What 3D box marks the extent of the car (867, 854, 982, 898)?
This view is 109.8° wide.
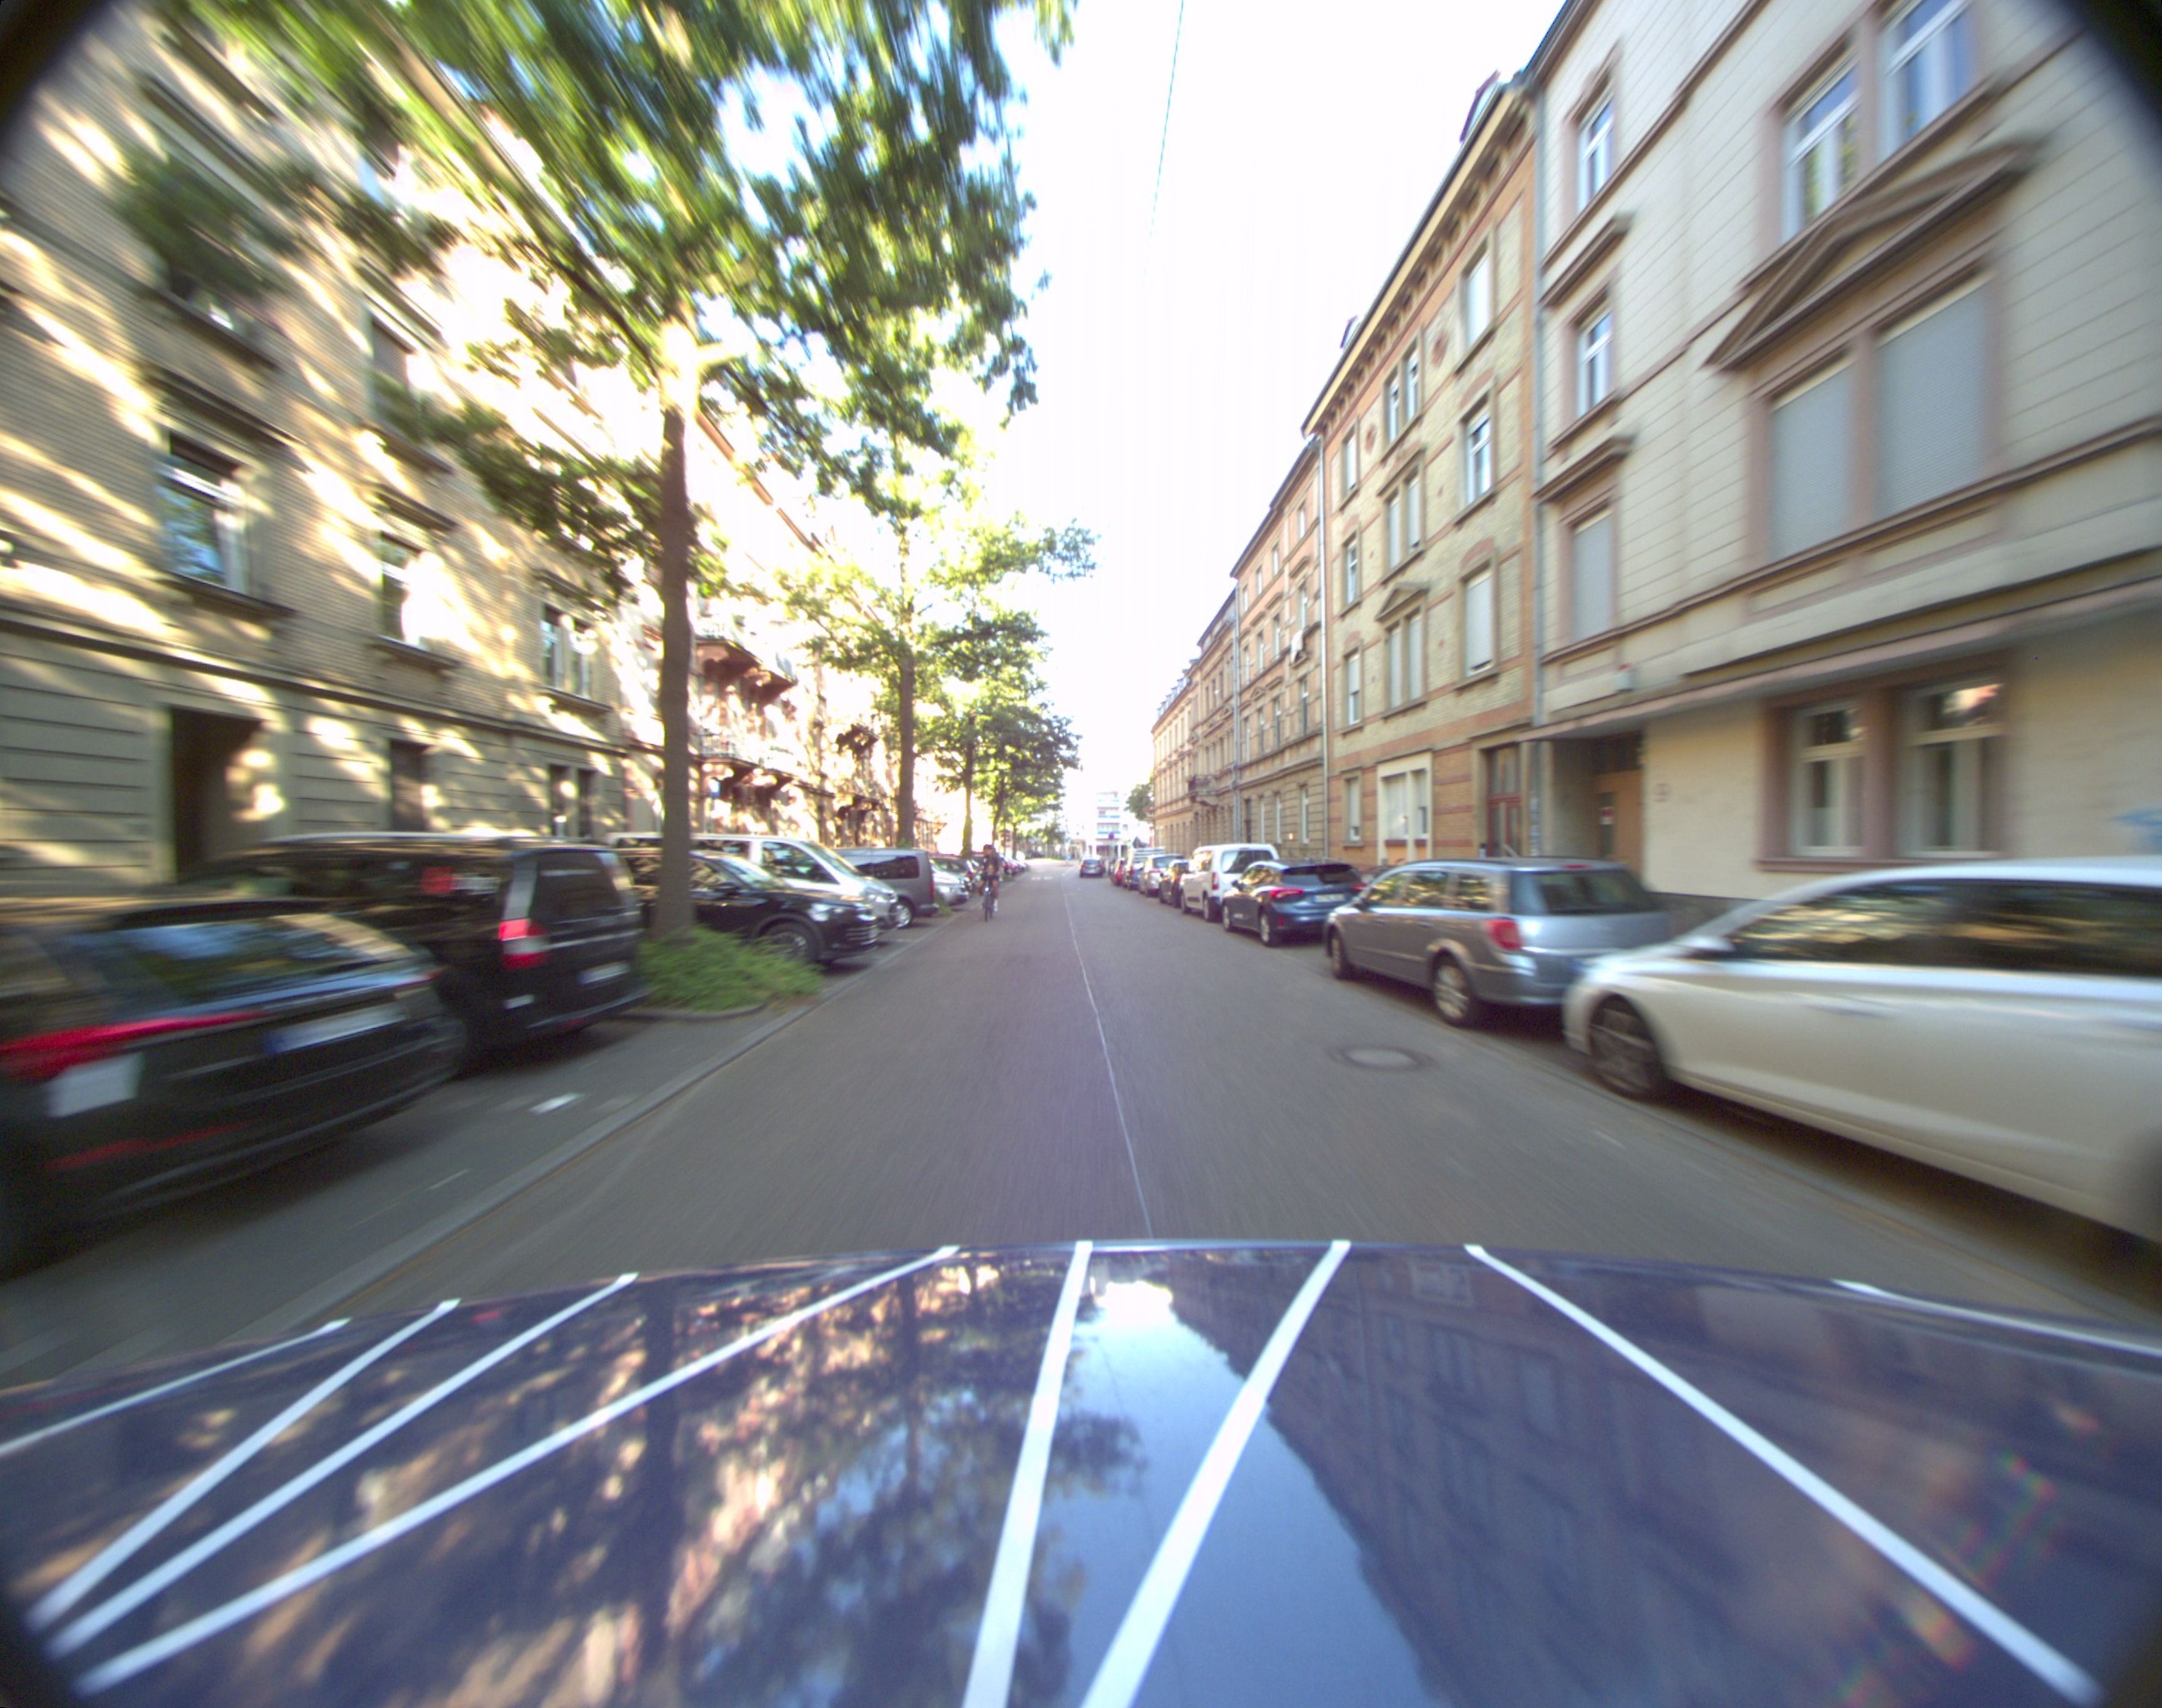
[{"bbox_3d":[-6.198,0.873,30.513,4.244,1.579,1.738,2,0,-3],"label":"car"}]

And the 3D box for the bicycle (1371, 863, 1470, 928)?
[{"bbox_3d":[7.398,0.851,16.733,0.630,1.273,2.667,-1,0,-8],"label":"bicycle"}]

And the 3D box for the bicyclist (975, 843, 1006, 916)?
[{"bbox_3d":[-2.366,0.652,19.947,0.712,1.865,1.120,0,1,-2],"label":"bicyclist"}]

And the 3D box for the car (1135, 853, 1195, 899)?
[{"bbox_3d":[3.287,0.810,30.450,1.771,1.648,4.157,-2,0,-2],"label":"car"}]

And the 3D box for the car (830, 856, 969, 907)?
[{"bbox_3d":[-5.963,0.896,25.406,4.244,1.594,1.902,1,0,-4],"label":"car"}]

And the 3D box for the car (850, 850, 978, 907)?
[{"bbox_3d":[-6.085,0.871,28.042,4.242,1.875,1.782,-2,1,-1],"label":"car"}]

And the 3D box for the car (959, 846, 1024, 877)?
[{"bbox_3d":[-6.807,0.554,58.088,4.700,1.966,1.925,4,0,-1],"label":"car"}]

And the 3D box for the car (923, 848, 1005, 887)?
[{"bbox_3d":[-6.240,0.714,40.825,4.057,1.875,1.781,2,0,0],"label":"car"}]

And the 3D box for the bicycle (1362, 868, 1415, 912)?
[{"bbox_3d":[7.856,0.903,19.489,0.495,1.017,1.908,-2,0,-3],"label":"bicycle"}]

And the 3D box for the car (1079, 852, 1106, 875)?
[{"bbox_3d":[0.840,0.681,56.712,1.868,1.620,3.825,-2,0,0],"label":"car"}]

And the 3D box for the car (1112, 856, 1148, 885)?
[{"bbox_3d":[2.676,0.895,42.137,1.641,1.482,3.824,-2,0,-2],"label":"car"}]

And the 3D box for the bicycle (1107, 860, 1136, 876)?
[{"bbox_3d":[2.918,0.991,55.073,2.043,1.092,0.587,-2,1,0],"label":"bicycle"}]

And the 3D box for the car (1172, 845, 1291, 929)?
[{"bbox_3d":[3.654,0.739,19.334,1.847,1.822,4.605,-2,0,-3],"label":"car"}]

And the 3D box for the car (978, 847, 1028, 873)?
[{"bbox_3d":[-6.710,0.532,65.431,4.057,1.922,1.780,4,0,-1],"label":"car"}]

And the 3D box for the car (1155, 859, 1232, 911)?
[{"bbox_3d":[3.466,0.914,24.040,1.641,1.413,3.824,-2,0,-3],"label":"car"}]

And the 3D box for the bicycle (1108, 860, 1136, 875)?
[{"bbox_3d":[3.020,1.008,56.572,2.043,1.092,0.499,-2,1,0],"label":"bicycle"}]

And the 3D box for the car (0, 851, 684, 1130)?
[{"bbox_3d":[-5.706,0.900,5.943,4.135,1.778,1.945,-1,0,0],"label":"car"}]

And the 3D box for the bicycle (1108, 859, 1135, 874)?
[{"bbox_3d":[3.099,0.974,58.903,2.043,1.092,0.499,-2,1,0],"label":"bicycle"}]

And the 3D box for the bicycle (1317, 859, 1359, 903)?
[{"bbox_3d":[7.690,0.780,22.781,0.495,1.250,1.908,-2,0,-3],"label":"bicycle"}]

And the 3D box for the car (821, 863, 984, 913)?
[{"bbox_3d":[-5.317,1.013,23.084,4.469,1.360,1.903,1,0,0],"label":"car"}]

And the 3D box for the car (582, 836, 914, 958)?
[{"bbox_3d":[-5.648,0.722,13.545,4.934,1.890,2.175,2,0,-5],"label":"car"}]

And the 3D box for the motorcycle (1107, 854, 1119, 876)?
[{"bbox_3d":[2.239,0.734,53.102,0.624,1.482,2.489,-2,0,-2],"label":"motorcycle"}]

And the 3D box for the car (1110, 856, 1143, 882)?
[{"bbox_3d":[2.763,0.878,46.705,1.641,1.482,3.824,-2,0,-2],"label":"car"}]

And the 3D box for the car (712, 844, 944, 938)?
[{"bbox_3d":[-5.623,0.770,17.063,4.684,1.879,1.904,1,0,-23],"label":"car"}]

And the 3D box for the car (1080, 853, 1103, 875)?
[{"bbox_3d":[0.816,0.775,61.582,1.745,1.630,3.825,-2,0,0],"label":"car"}]

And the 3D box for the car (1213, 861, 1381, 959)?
[{"bbox_3d":[3.772,0.906,14.078,1.751,1.464,4.243,-1,0,-2],"label":"car"}]

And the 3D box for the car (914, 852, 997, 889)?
[{"bbox_3d":[-6.295,0.822,38.374,3.844,1.673,1.738,2,0,0],"label":"car"}]

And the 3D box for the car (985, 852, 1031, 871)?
[{"bbox_3d":[-6.718,0.707,70.469,4.057,1.521,1.780,4,0,-1],"label":"car"}]

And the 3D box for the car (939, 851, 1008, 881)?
[{"bbox_3d":[-6.768,0.766,48.111,4.057,1.612,1.780,4,0,-1],"label":"car"}]

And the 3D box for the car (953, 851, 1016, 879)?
[{"bbox_3d":[-6.658,0.754,52.778,4.057,1.612,1.780,4,0,-1],"label":"car"}]

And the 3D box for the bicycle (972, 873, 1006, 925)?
[{"bbox_3d":[-2.377,1.149,19.904,0.712,1.252,1.887,0,0,-2],"label":"bicycle"}]

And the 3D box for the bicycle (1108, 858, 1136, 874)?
[{"bbox_3d":[2.997,0.895,55.803,2.043,1.092,0.587,-2,1,0],"label":"bicycle"}]

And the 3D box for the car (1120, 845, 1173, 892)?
[{"bbox_3d":[3.087,0.659,36.617,1.947,2.045,4.744,-2,0,-2],"label":"car"}]

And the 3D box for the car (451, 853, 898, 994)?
[{"bbox_3d":[-5.205,0.880,10.417,4.934,1.623,2.077,2,0,-5],"label":"car"}]

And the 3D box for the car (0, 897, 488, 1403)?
[{"bbox_3d":[-5.408,0.967,3.248,4.156,1.446,1.936,1,0,-3],"label":"car"}]

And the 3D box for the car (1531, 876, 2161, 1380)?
[{"bbox_3d":[4.210,0.904,3.456,1.762,1.464,4.087,-1,0,-3],"label":"car"}]

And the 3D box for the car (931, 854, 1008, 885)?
[{"bbox_3d":[-6.308,0.860,43.255,4.057,1.571,1.781,2,0,0],"label":"car"}]

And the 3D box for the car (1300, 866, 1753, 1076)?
[{"bbox_3d":[4.011,0.909,7.960,1.891,1.436,4.541,-1,0,-3],"label":"car"}]
